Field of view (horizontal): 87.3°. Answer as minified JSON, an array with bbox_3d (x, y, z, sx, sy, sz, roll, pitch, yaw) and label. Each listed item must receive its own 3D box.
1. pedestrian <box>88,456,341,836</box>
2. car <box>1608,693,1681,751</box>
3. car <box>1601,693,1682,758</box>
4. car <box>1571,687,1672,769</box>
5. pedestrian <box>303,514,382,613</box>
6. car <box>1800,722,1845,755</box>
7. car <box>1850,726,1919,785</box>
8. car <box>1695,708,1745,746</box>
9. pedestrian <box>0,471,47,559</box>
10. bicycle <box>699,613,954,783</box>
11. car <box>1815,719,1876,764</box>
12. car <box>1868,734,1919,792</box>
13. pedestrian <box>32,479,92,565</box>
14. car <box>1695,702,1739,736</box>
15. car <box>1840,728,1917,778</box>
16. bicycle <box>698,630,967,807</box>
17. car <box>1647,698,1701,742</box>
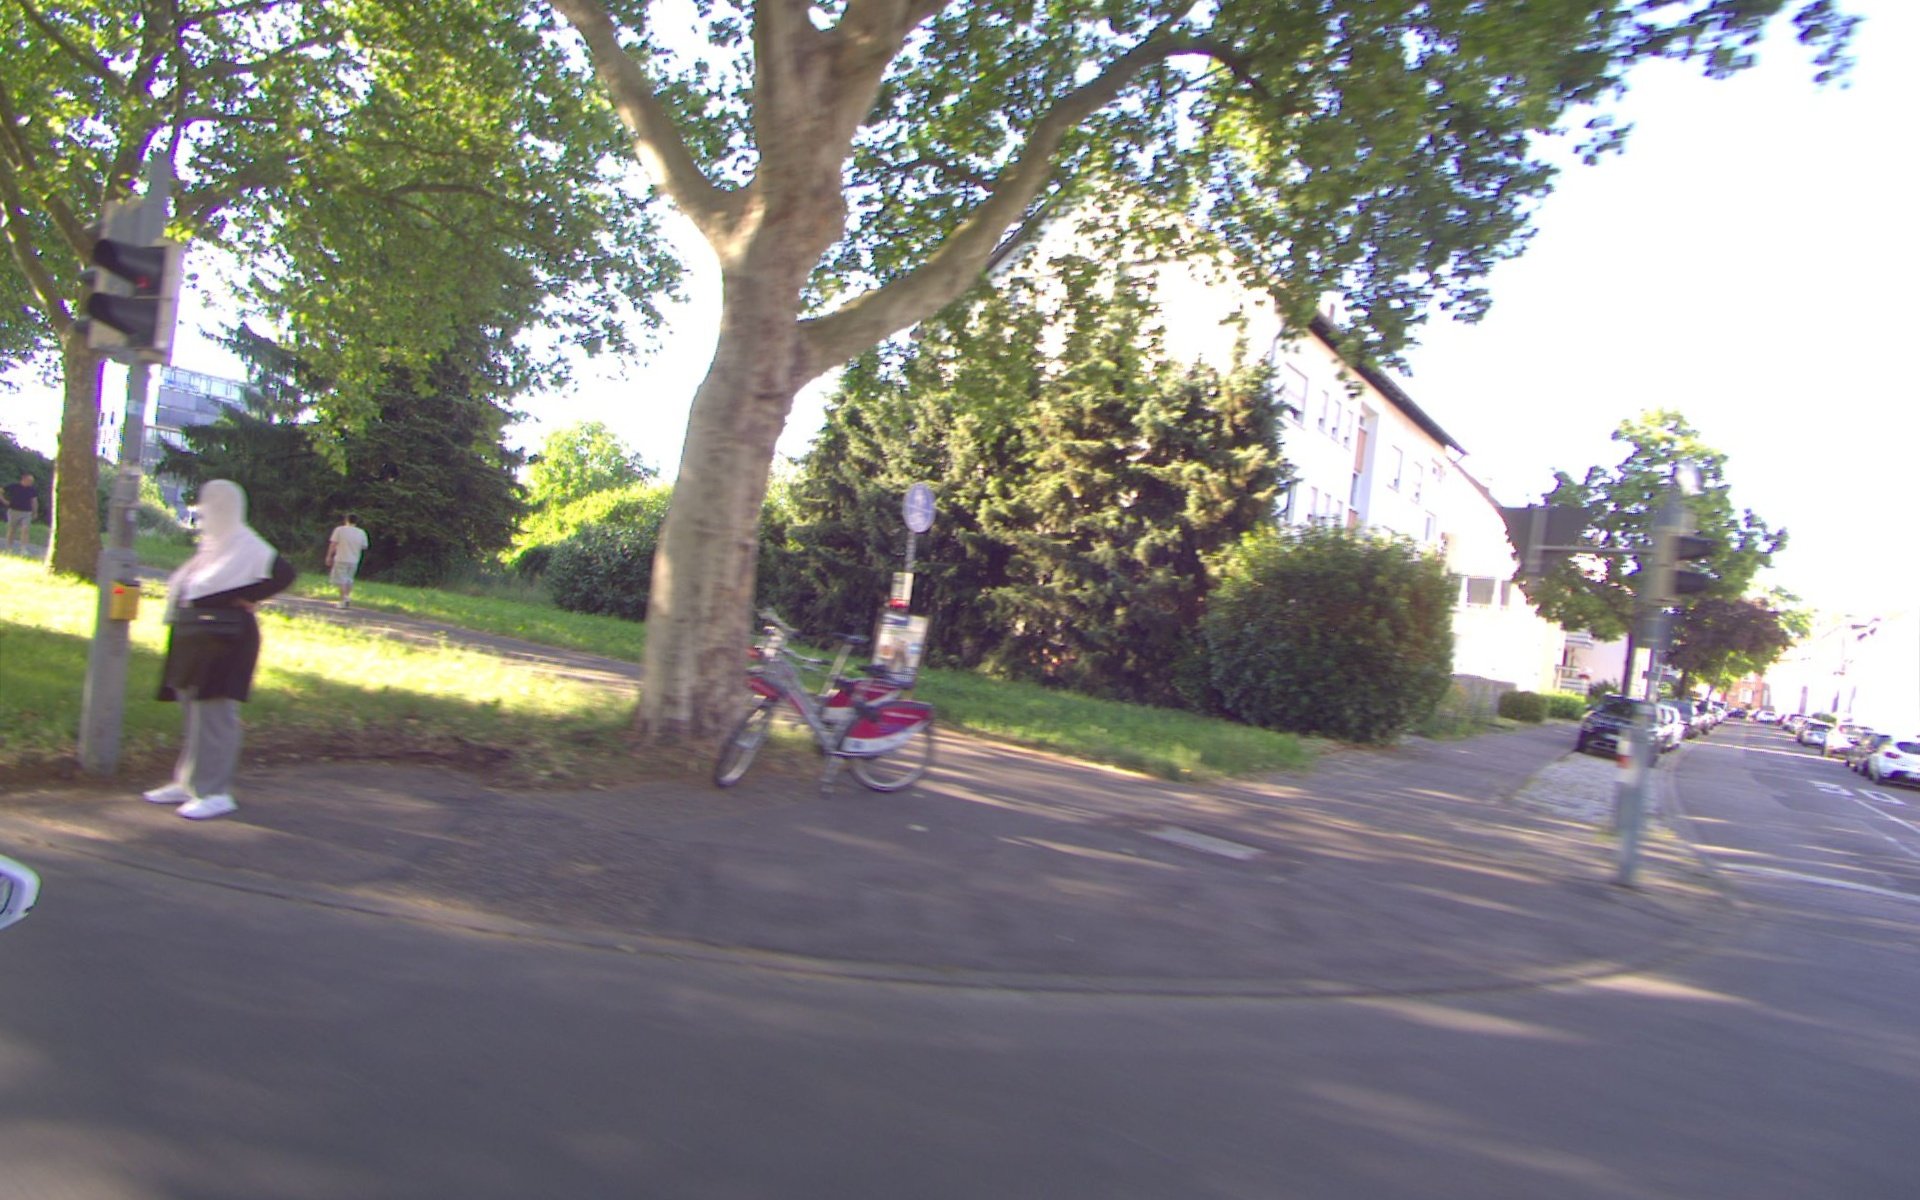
[{"bbox_3d":[-3.787,0.204,5.124,0.811,1.742,0.635,6,2,24],"label":"pedestrian"},{"bbox_3d":[24.304,4.285,35.746,1.838,1.614,3.750,10,1,35],"label":"car"},{"bbox_3d":[21.800,3.955,32.214,1.838,1.614,3.750,10,1,35],"label":"car"},{"bbox_3d":[17.139,3.255,26.075,1.838,1.614,3.750,10,1,35],"label":"car"},{"bbox_3d":[-11.280,-0.667,18.383,0.923,1.670,0.780,6,1,32],"label":"pedestrian"},{"bbox_3d":[49.890,7.972,58.245,1.642,1.536,3.551,6,-1,38],"label":"car"},{"bbox_3d":[30.759,5.099,33.235,1.642,1.530,3.550,6,0,38],"label":"car"},{"bbox_3d":[38.310,6.369,50.775,1.674,1.614,3.582,6,-1,35],"label":"car"},{"bbox_3d":[-21.418,-1.923,22.818,0.775,1.868,0.761,6,0,36],"label":"pedestrian"},{"bbox_3d":[-1.114,0.783,8.389,1.969,1.097,0.446,8,2,12],"label":"bicycle"},{"bbox_3d":[39.296,6.266,44.705,1.642,1.644,3.552,6,-1,38],"label":"car"},{"bbox_3d":[27.670,4.754,29.180,1.808,1.411,3.547,7,0,42],"label":"car"},{"bbox_3d":[-20.968,-1.822,23.493,0.790,1.870,0.755,6,0,36],"label":"pedestrian"},{"bbox_3d":[43.145,6.773,57.401,1.674,1.614,3.582,6,-1,35],"label":"car"},{"bbox_3d":[33.750,5.601,37.045,1.642,1.438,3.552,6,-1,38],"label":"car"},{"bbox_3d":[-0.870,0.837,6.994,1.697,1.048,0.444,7,2,-23],"label":"bicycle"},{"bbox_3d":[32.111,5.366,45.320,1.673,1.614,3.582,10,1,35],"label":"car"}]
